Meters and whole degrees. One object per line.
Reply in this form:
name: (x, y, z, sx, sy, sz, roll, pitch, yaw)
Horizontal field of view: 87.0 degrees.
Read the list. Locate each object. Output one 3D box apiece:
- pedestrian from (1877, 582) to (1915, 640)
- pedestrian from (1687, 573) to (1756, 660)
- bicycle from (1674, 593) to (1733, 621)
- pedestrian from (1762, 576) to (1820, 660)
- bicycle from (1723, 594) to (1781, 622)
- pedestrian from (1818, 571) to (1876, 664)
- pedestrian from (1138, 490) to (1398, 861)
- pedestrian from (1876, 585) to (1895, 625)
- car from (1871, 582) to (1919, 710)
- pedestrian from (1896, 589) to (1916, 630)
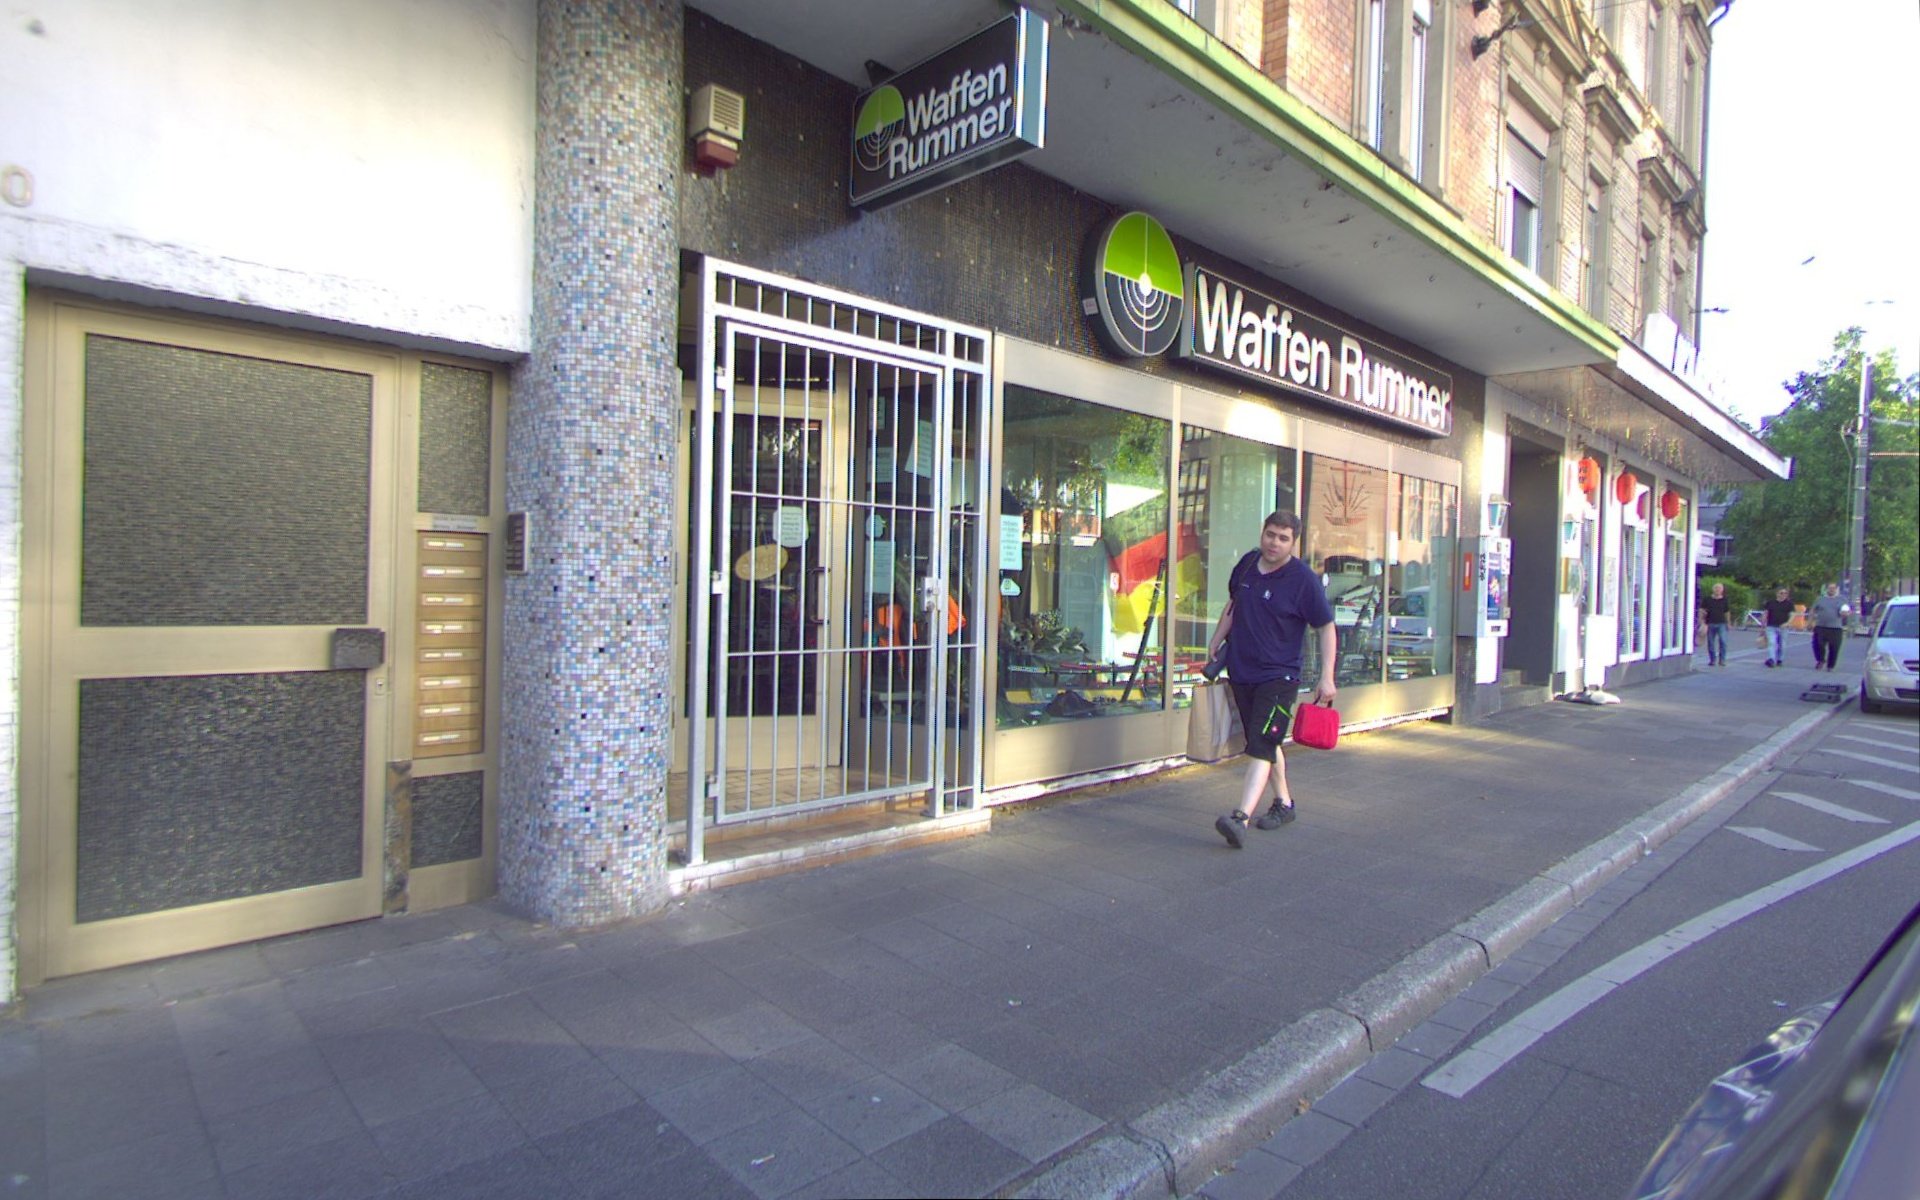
pedestrian: (29.150, 0.336, 31.531, 0.930, 1.759, 0.788, 0, 1, -44)
pedestrian: (16.005, 0.329, 21.270, 1.016, 1.734, 0.902, 0, 4, -44)
bicycle: (32.459, 0.285, 44.198, 2.012, 1.109, 0.628, 4, 2, 40)
pedestrian: (18.245, 0.375, 22.218, 1.016, 1.778, 0.811, 0, 2, -44)
bicycle: (34.151, 0.345, 43.650, 0.461, 1.109, 1.882, 0, 2, -45)
pedestrian: (19.028, 0.359, 21.714, 1.016, 1.922, 0.794, 0, 2, -44)
pedestrian: (1.716, 0.347, 5.640, 1.037, 1.814, 0.947, 0, 2, -44)
pedestrian: (40.917, 0.223, 44.758, 0.430, 1.734, 0.493, 0, 4, -44)
car: (13.835, 0.585, 14.014, 1.638, 1.635, 3.881, 1, 1, 45)
pedestrian: (41.346, 0.406, 44.233, 0.430, 1.734, 0.493, 0, 4, -44)
